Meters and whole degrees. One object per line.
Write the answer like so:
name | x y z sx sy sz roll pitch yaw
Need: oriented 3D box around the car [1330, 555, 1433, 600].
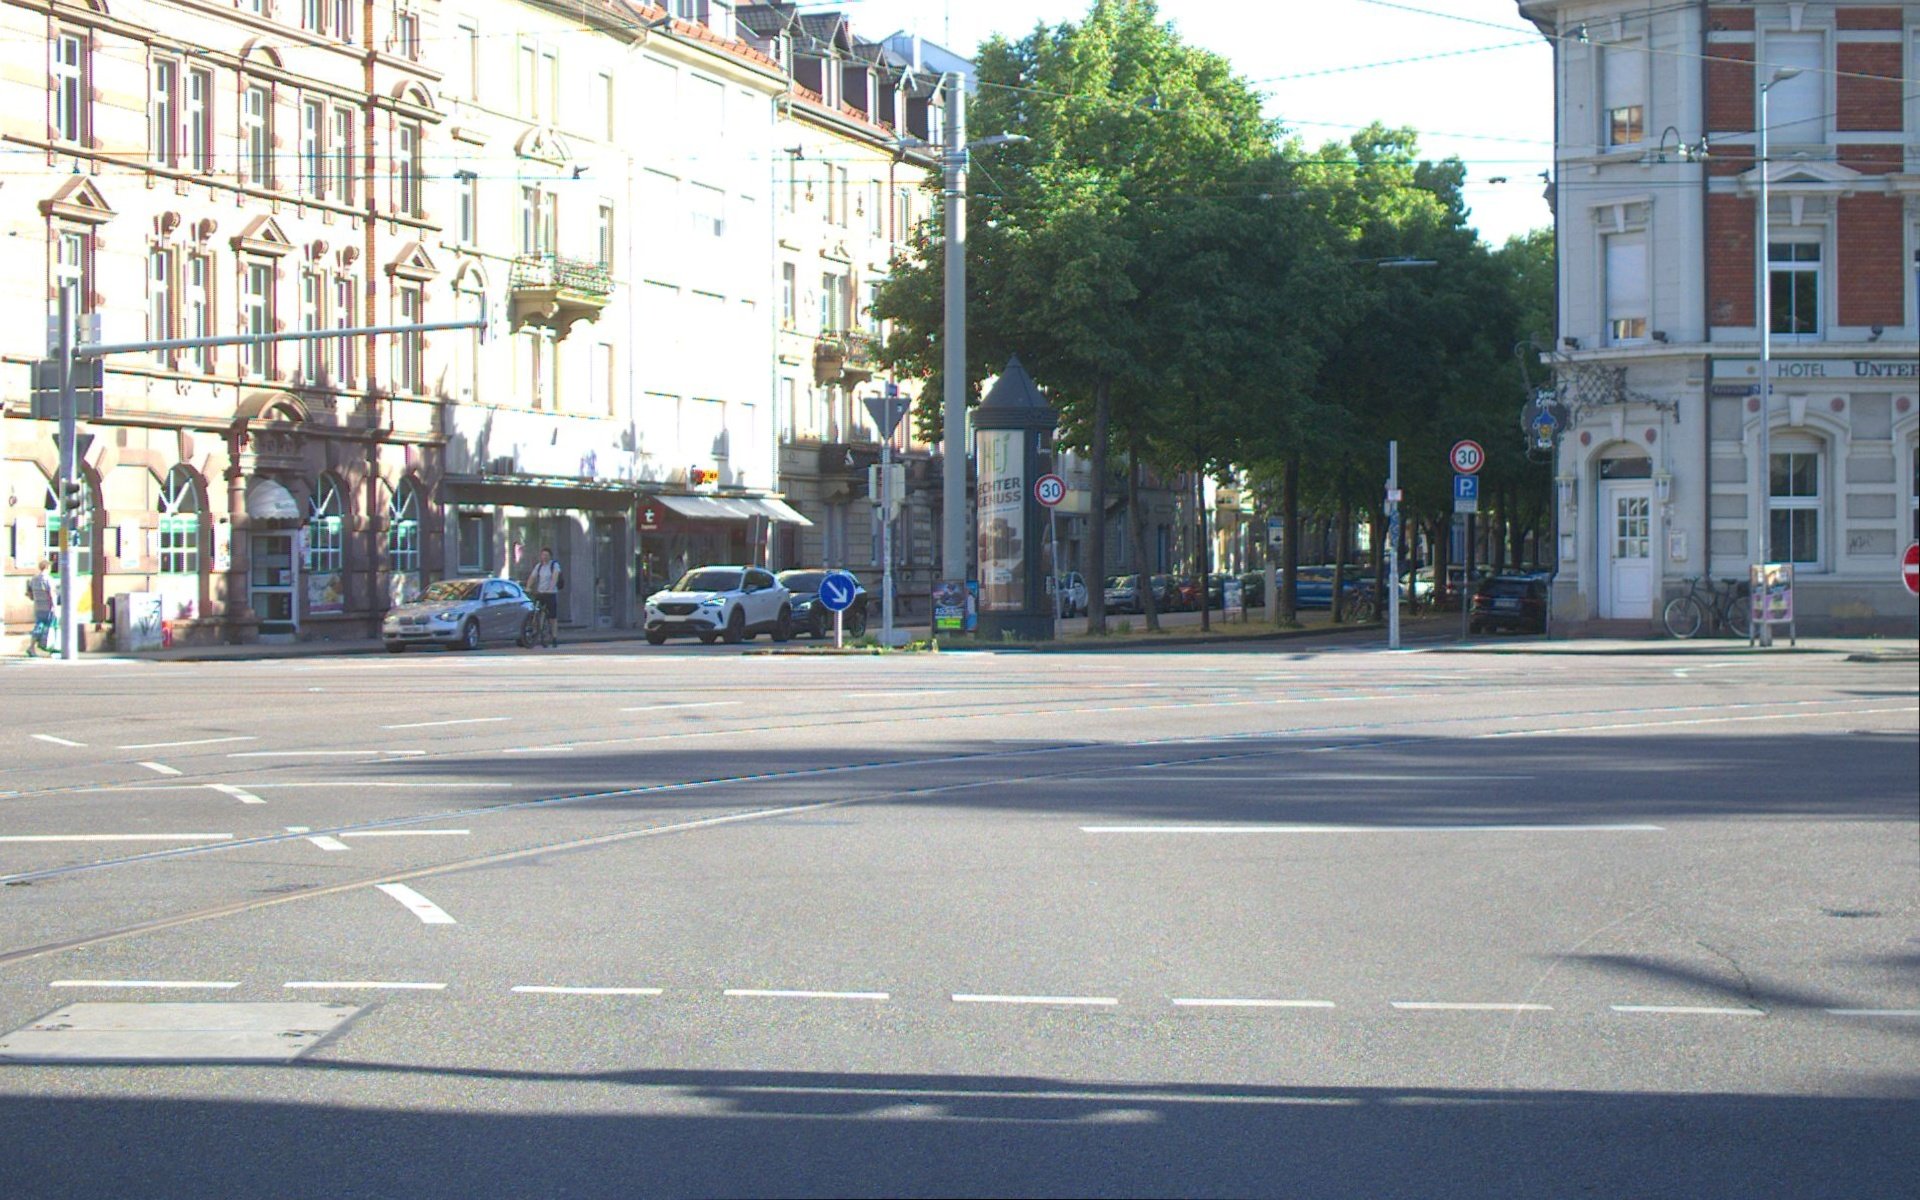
car | 15.717 -0.854 128.042 3.582 1.642 1.681 0 1 17

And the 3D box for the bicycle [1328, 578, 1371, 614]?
bicycle | 11.266 -0.110 99.492 0.636 1.018 1.847 1 1 -14

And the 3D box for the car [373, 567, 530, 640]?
car | -9.865 0.053 66.917 1.678 1.349 3.588 0 1 17

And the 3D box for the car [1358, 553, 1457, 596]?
car | 17.391 -1.009 133.516 3.582 1.642 1.681 0 1 17

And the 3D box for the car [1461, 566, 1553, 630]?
car | 13.156 -0.062 82.583 1.678 1.478 3.945 0 1 16

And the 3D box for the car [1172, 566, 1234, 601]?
car | 9.615 -0.661 135.786 1.678 1.349 3.588 0 1 17

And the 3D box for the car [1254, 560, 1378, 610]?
car | 11.996 -0.516 115.686 3.905 1.642 1.681 0 1 17

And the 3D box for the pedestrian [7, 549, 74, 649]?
pedestrian | -15.630 -0.021 58.464 0.776 1.664 0.830 1 0 15

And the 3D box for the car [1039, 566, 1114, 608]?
car | 3.938 -0.450 115.487 1.678 1.349 3.588 0 1 17

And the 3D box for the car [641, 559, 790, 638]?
car | -4.754 -0.055 67.321 1.678 1.478 3.768 0 1 16

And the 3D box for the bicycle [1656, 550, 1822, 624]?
bicycle | 12.977 -0.211 57.284 2.554 1.170 0.819 1 0 -3

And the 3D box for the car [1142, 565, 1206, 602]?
car | 8.144 -0.622 130.756 1.678 1.349 3.588 0 1 17

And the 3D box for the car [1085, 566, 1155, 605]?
car | 5.708 -0.529 122.449 1.678 1.349 3.588 0 1 17

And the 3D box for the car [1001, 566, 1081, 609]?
car | 2.640 -0.406 111.331 1.678 1.349 3.588 0 1 17

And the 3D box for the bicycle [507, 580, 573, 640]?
bicycle | -7.971 0.182 65.272 0.702 1.114 1.634 1 1 13

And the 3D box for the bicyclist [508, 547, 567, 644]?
bicyclist | -8.007 -0.091 65.146 0.779 1.797 1.055 1 0 14

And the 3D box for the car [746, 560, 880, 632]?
car | -3.113 -0.105 73.623 1.678 1.478 3.945 0 1 16
